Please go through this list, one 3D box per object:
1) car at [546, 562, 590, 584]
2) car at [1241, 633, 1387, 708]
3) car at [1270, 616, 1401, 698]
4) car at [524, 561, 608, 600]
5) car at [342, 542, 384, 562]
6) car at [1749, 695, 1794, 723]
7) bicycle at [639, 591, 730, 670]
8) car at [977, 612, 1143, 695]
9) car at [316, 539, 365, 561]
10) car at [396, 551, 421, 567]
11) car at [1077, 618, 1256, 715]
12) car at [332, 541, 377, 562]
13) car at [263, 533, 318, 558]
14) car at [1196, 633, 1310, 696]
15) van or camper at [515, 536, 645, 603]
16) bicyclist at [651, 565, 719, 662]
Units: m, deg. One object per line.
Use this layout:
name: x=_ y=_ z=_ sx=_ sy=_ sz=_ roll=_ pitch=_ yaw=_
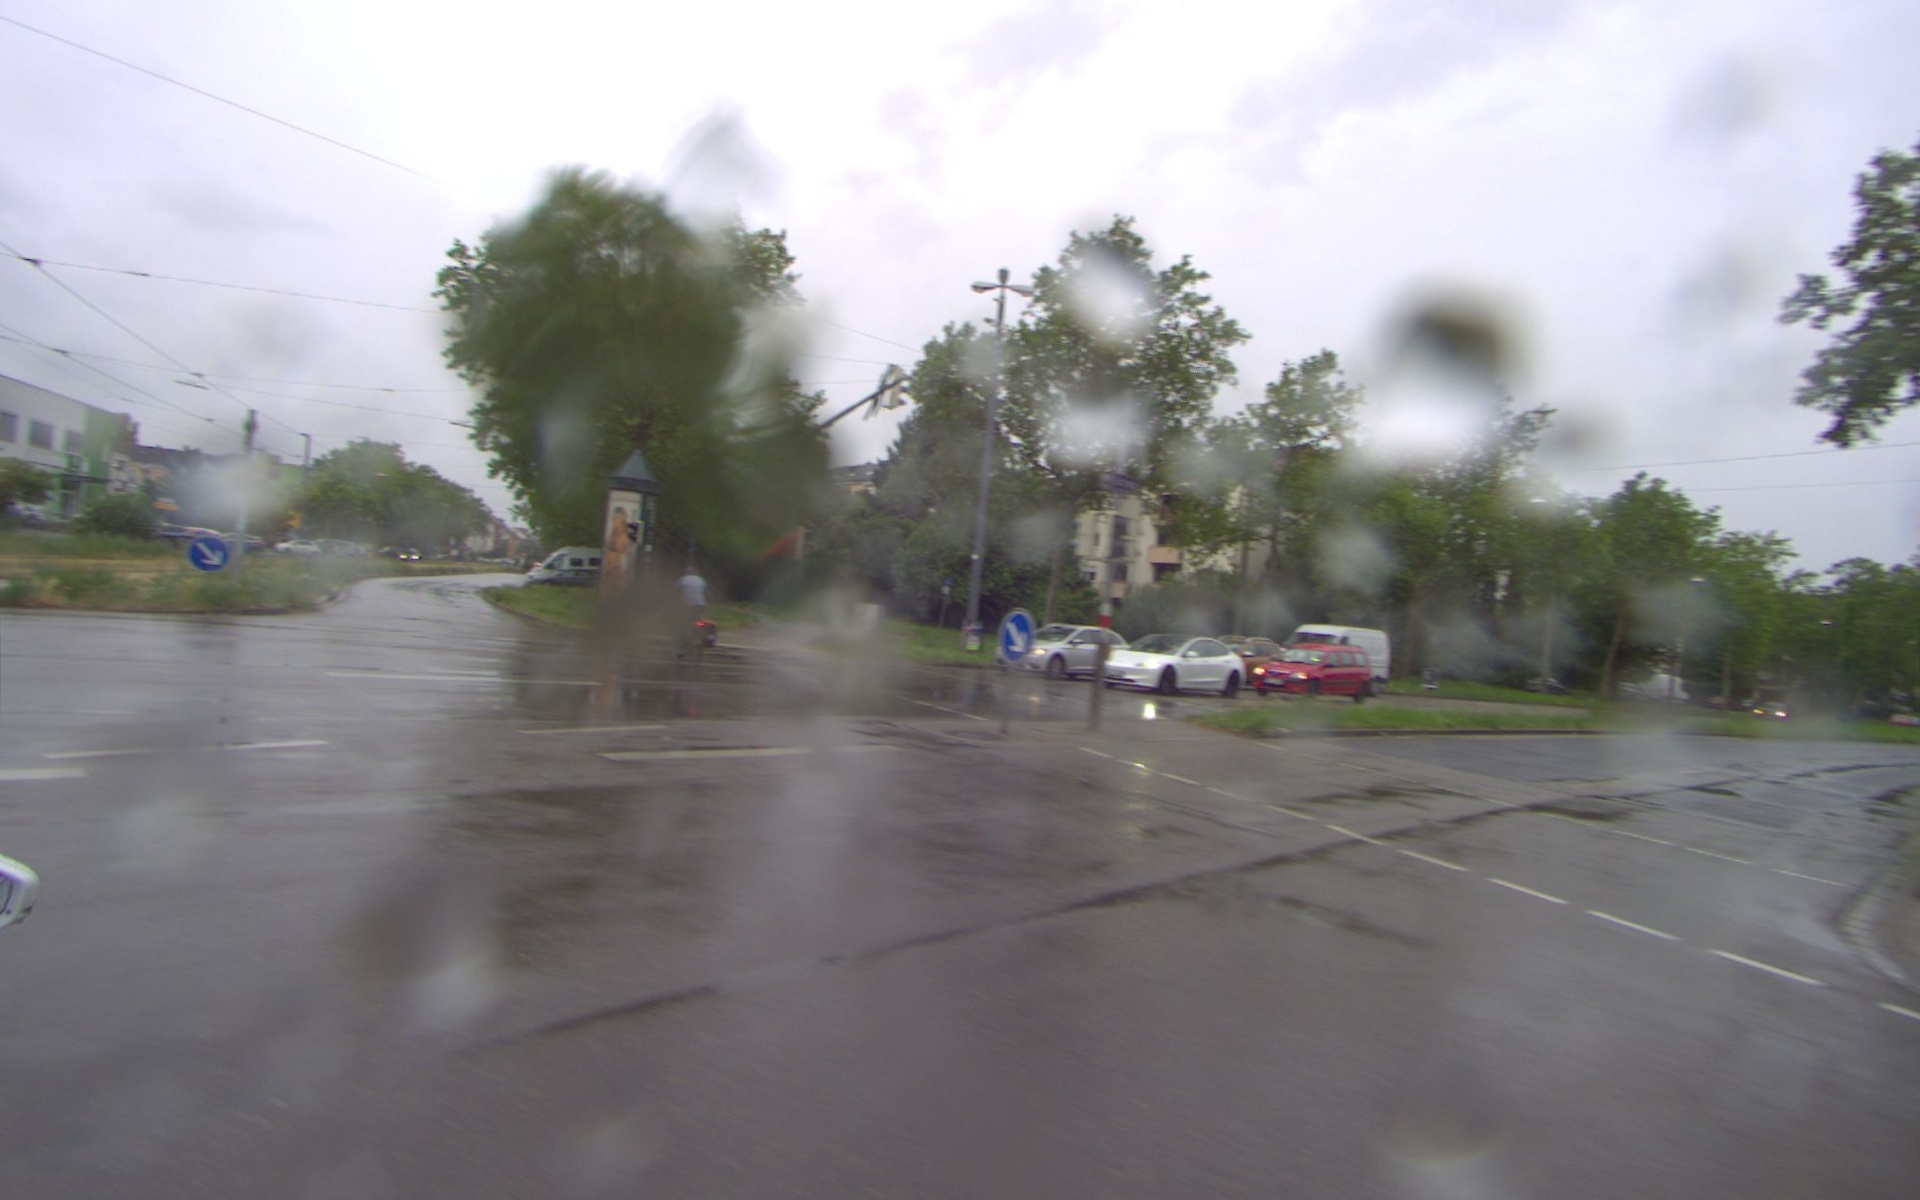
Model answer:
car: x=-46.509 y=-3.172 z=119.370 sx=4.590 sy=2.037 sz=2.032 roll=7 pitch=-1 yaw=-24
car: x=10.103 y=2.031 z=28.533 sx=4.587 sy=1.626 sz=1.770 roll=8 pitch=-2 yaw=-41
car: x=13.862 y=2.137 z=36.892 sx=5.586 sy=2.420 sz=1.977 roll=8 pitch=-1 yaw=-42
car: x=-23.500 y=-1.143 z=60.203 sx=4.393 sy=1.737 sz=1.993 roll=7 pitch=-1 yaw=-18
car: x=-73.190 y=-5.831 z=123.407 sx=3.976 sy=1.853 sz=1.976 roll=8 pitch=-2 yaw=-44
car: x=58.839 y=7.896 z=72.904 sx=3.977 sy=1.659 sz=1.975 roll=8 pitch=-2 yaw=-44
bicycle: x=-4.635 y=0.492 z=16.834 sx=0.687 sy=1.130 sz=1.866 roll=7 pitch=-1 yaw=-38
car: x=2.718 y=1.445 z=26.668 sx=1.910 sy=1.711 sz=4.383 roll=6 pitch=-2 yaw=45
car: x=-67.709 y=-5.476 z=109.967 sx=1.981 sy=1.779 sz=3.984 roll=6 pitch=-2 yaw=40
car: x=-72.499 y=-5.407 z=132.302 sx=1.867 sy=1.681 sz=3.989 roll=7 pitch=-1 yaw=-15
car: x=5.070 y=1.651 z=24.298 sx=1.910 sy=1.850 sz=4.583 roll=6 pitch=-2 yaw=45
car: x=-71.278 y=-5.727 z=118.494 sx=1.972 sy=1.853 sz=3.984 roll=6 pitch=-1 yaw=40
car: x=-61.223 y=-4.949 z=92.036 sx=1.812 sy=1.722 sz=3.770 roll=6 pitch=-2 yaw=41
car: x=9.669 y=2.148 z=33.069 sx=1.768 sy=1.626 sz=4.046 roll=6 pitch=-2 yaw=45
van or camper: x=-23.973 y=-1.862 z=63.775 sx=7.245 sy=3.216 sz=3.248 roll=7 pitch=-1 yaw=-21
bicyclist: x=-4.610 y=0.221 z=16.834 sx=0.687 sy=1.524 sz=0.835 roll=7 pitch=-1 yaw=-38
